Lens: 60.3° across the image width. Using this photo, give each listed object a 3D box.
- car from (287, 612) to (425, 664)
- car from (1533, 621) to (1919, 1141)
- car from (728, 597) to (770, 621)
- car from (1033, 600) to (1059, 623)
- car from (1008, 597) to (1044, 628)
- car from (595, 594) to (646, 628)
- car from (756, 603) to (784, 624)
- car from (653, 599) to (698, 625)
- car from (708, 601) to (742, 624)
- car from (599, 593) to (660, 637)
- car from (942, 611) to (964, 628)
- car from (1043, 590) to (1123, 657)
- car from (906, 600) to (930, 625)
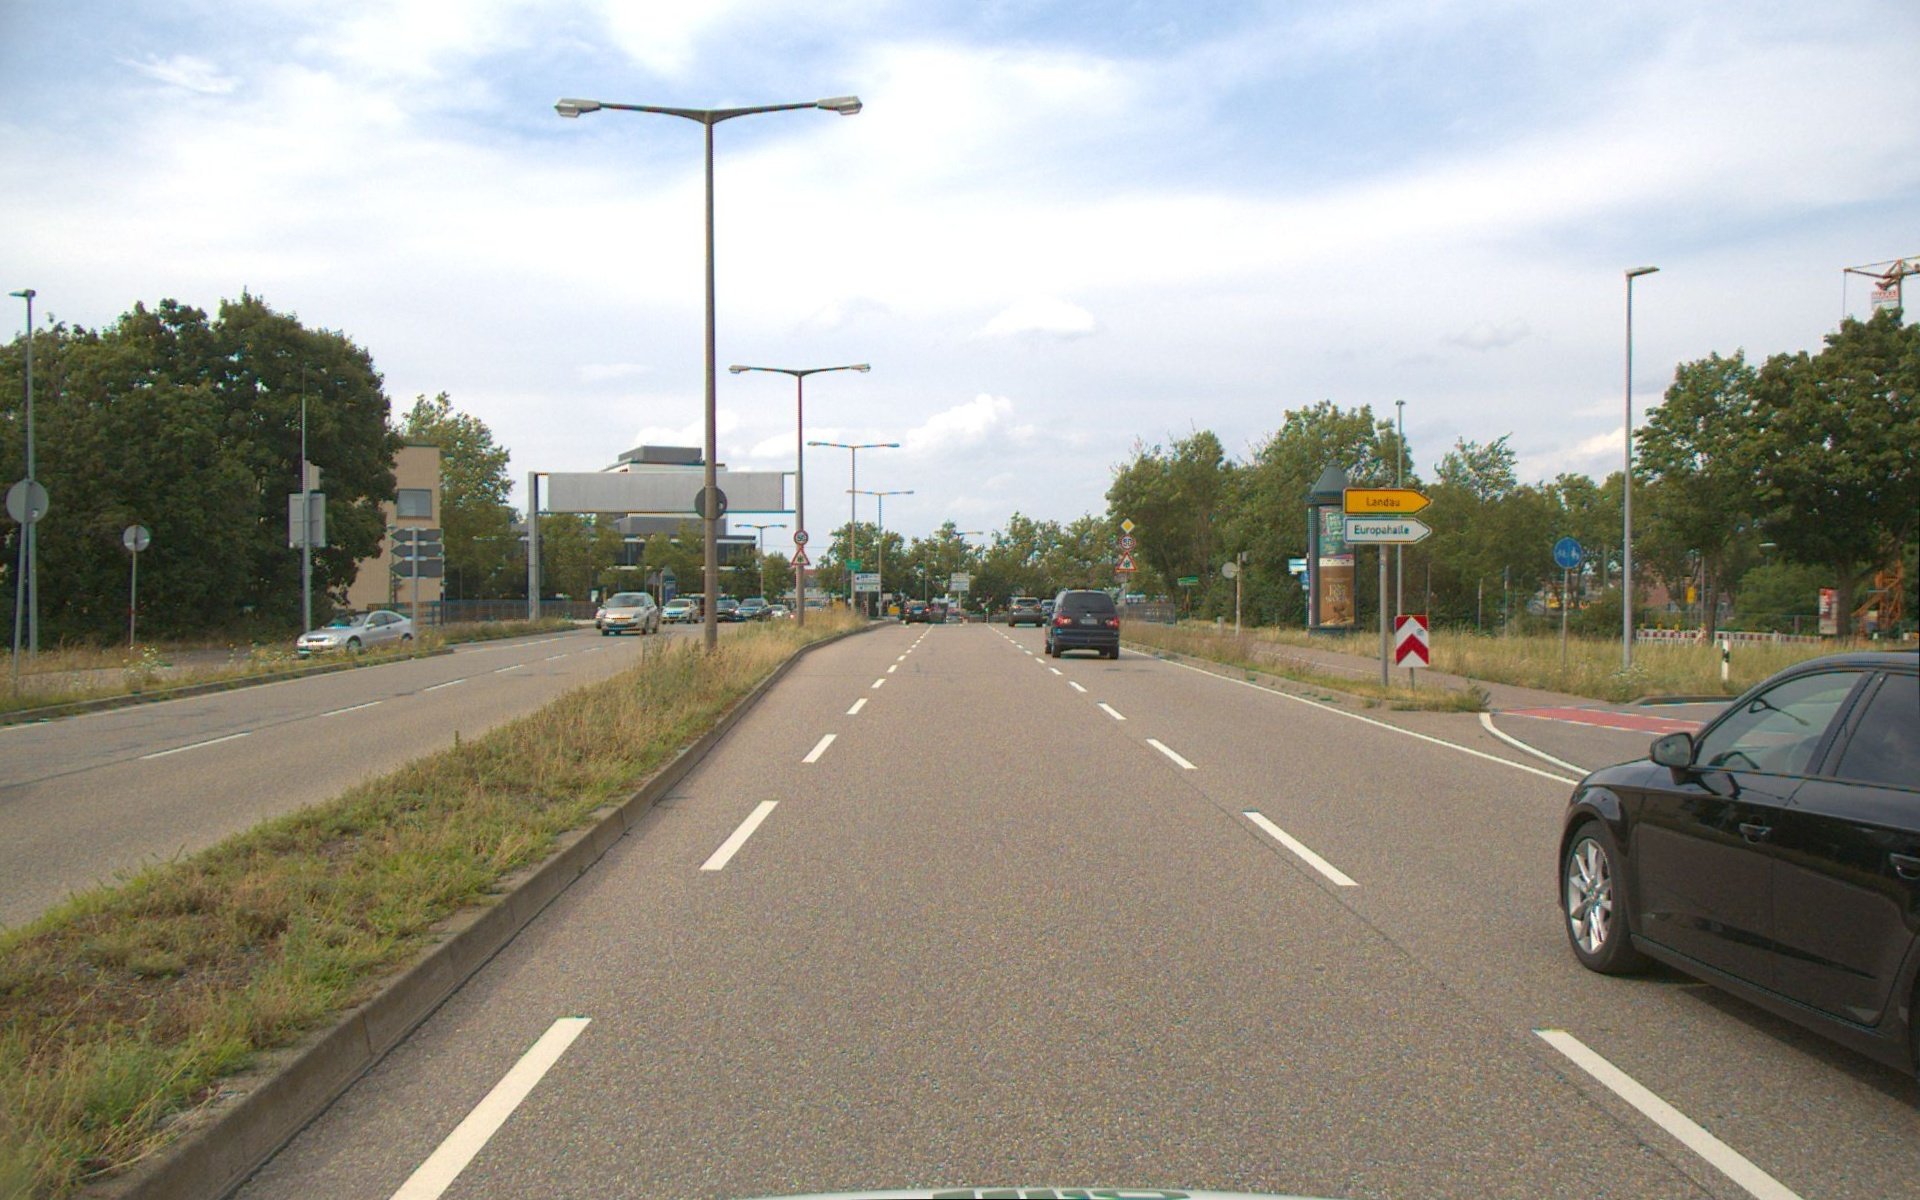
[{"bbox_3d":[-18.725,1.153,51.511,1.708,1.471,4.464,-1,0,16],"label":"car"},{"bbox_3d":[3.537,0.823,5.563,1.695,1.419,4.114,1,0,-2],"label":"car"},{"bbox_3d":[-13.071,0.566,102.792,1.631,1.450,4.521,-2,-1,4],"label":"car"},{"bbox_3d":[5.894,0.761,113.601,1.476,1.472,3.139,1,1,-2],"label":"car"},{"bbox_3d":[3.634,0.663,91.411,1.695,1.682,4.114,1,0,-2],"label":"car"},{"bbox_3d":[-16.427,0.510,80.187,1.632,1.443,4.092,-1,1,0],"label":"car"},{"bbox_3d":[-15.132,1.095,131.930,1.756,1.551,4.187,-2,-1,-1],"label":"car"},{"bbox_3d":[-16.768,0.725,97.642,1.631,1.444,4.315,-3,-1,3],"label":"car"},{"bbox_3d":[-16.380,0.885,115.521,1.756,1.551,4.593,-2,-1,-1],"label":"car"},{"bbox_3d":[-13.038,0.567,65.402,1.710,1.626,4.562,-1,0,-3],"label":"car"},{"bbox_3d":[-0.686,1.835,155.438,1.697,1.553,4.111,1,0,-5],"label":"car"},{"bbox_3d":[3.186,0.584,43.527,1.695,1.682,4.114,1,0,-2],"label":"car"},{"bbox_3d":[-2.958,0.859,116.816,1.695,1.682,4.114,1,0,-2],"label":"car"}]
